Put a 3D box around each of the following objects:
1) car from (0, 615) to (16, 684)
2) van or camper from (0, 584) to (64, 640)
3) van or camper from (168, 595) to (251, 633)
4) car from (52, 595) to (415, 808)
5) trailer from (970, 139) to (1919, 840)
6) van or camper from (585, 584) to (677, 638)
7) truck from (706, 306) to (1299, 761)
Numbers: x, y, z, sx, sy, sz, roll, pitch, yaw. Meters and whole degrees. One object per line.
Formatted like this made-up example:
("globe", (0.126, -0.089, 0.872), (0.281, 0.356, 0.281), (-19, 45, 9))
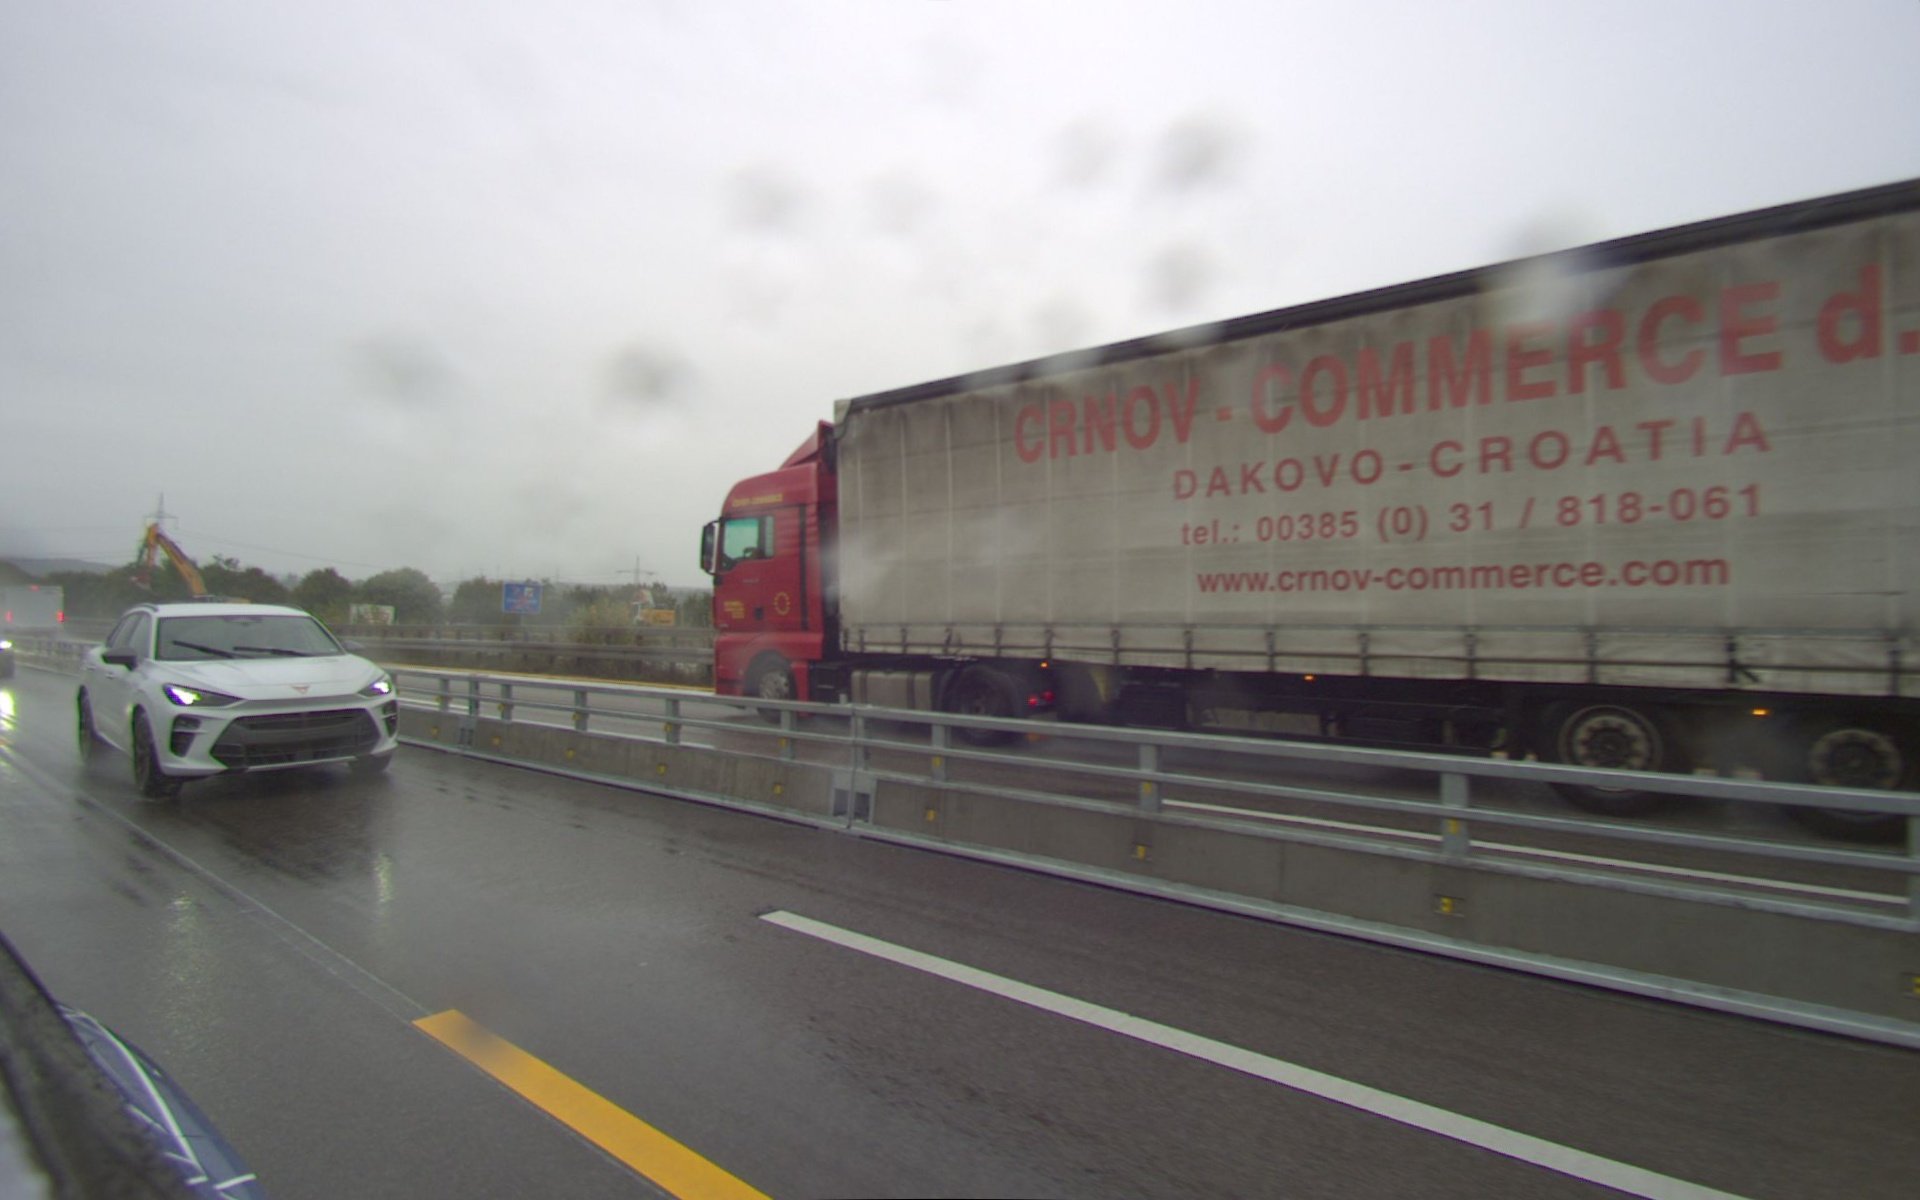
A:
("car", (-25.270, 1.212, 25.286), (5.195, 1.640, 2.042), (-1, -1, 42))
("van or camper", (-52.177, 0.641, 56.446), (6.218, 2.940, 2.459), (-1, 0, 40))
("van or camper", (-68.459, 1.227, 92.391), (3.373, 3.370, 5.355), (-1, 0, 38))
("car", (-7.240, 0.793, 9.840), (5.006, 1.562, 1.906), (-1, -2, 43))
("trailer", (5.411, -0.631, 7.688), (11.924, 4.037, 2.585), (-1, 0, 42))
("van or camper", (-27.474, 0.904, 84.312), (8.500, 4.356, 3.333), (-1, 0, 40))
("truck", (0.098, -0.579, 12.482), (7.283, 4.078, 2.615), (-1, 0, 42))
